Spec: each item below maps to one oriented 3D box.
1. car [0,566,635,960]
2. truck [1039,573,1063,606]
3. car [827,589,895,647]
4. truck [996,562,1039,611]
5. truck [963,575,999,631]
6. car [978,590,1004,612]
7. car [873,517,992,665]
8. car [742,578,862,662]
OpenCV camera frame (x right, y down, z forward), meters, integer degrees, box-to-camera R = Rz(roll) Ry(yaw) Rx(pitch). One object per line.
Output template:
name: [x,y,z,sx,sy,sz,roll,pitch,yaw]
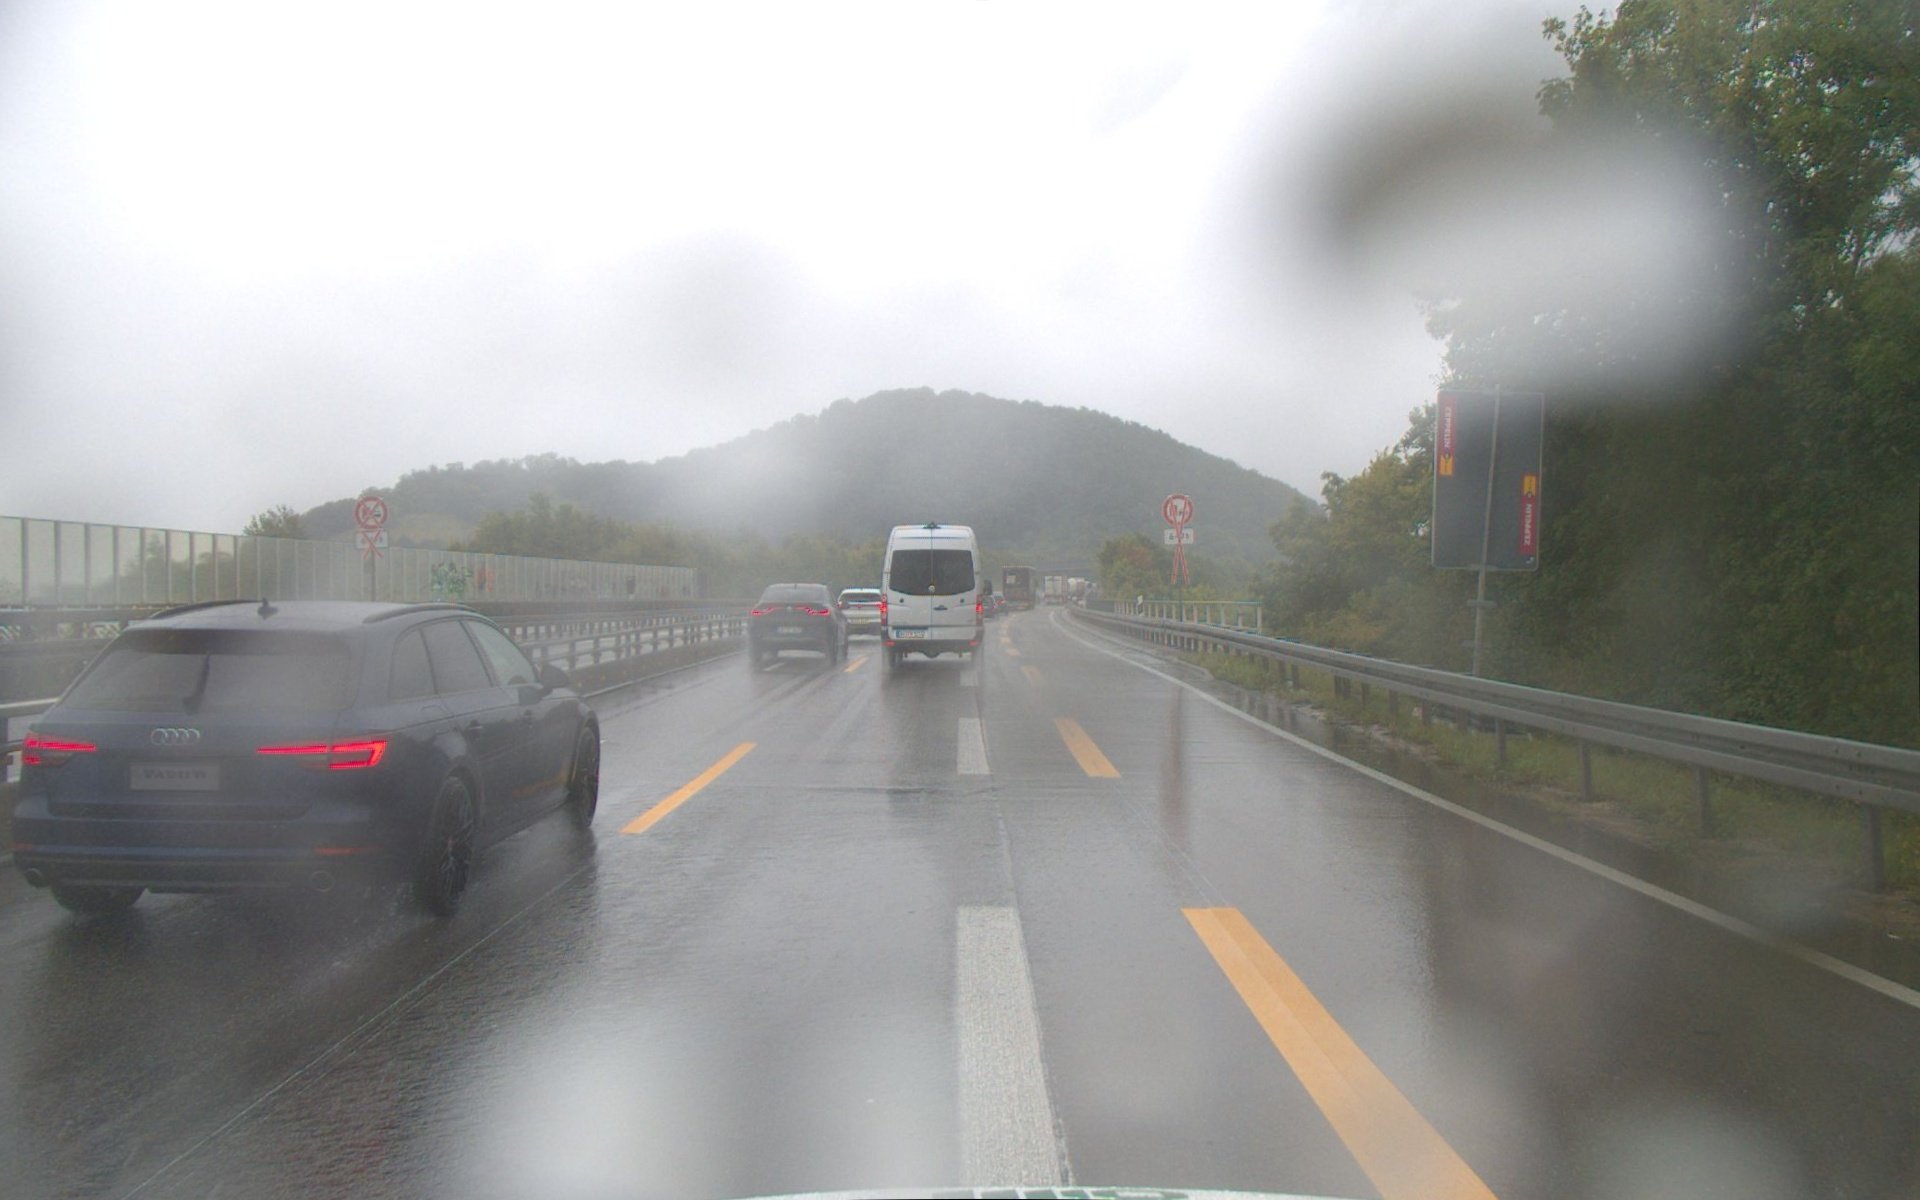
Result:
car: [-3.198,0.650,8.828,1.952,1.524,4.631,1,0,0]
truck: [12.862,-1.442,232.657,2.972,4.483,9.629,1,0,5]
car: [-3.027,0.536,50.699,1.954,1.646,4.793,1,0,-3]
truck: [5.515,-1.230,157.766,3.506,4.483,9.629,1,0,5]
truck: [1.284,0.189,97.395,1.952,3.163,8.499,1,0,1]
car: [2.209,0.097,116.347,1.737,1.501,4.001,1,0,2]
car: [-0.463,-0.145,32.451,2.101,2.616,5.390,1,0,1]
car: [-3.223,0.402,34.557,1.952,1.613,4.414,1,0,1]
